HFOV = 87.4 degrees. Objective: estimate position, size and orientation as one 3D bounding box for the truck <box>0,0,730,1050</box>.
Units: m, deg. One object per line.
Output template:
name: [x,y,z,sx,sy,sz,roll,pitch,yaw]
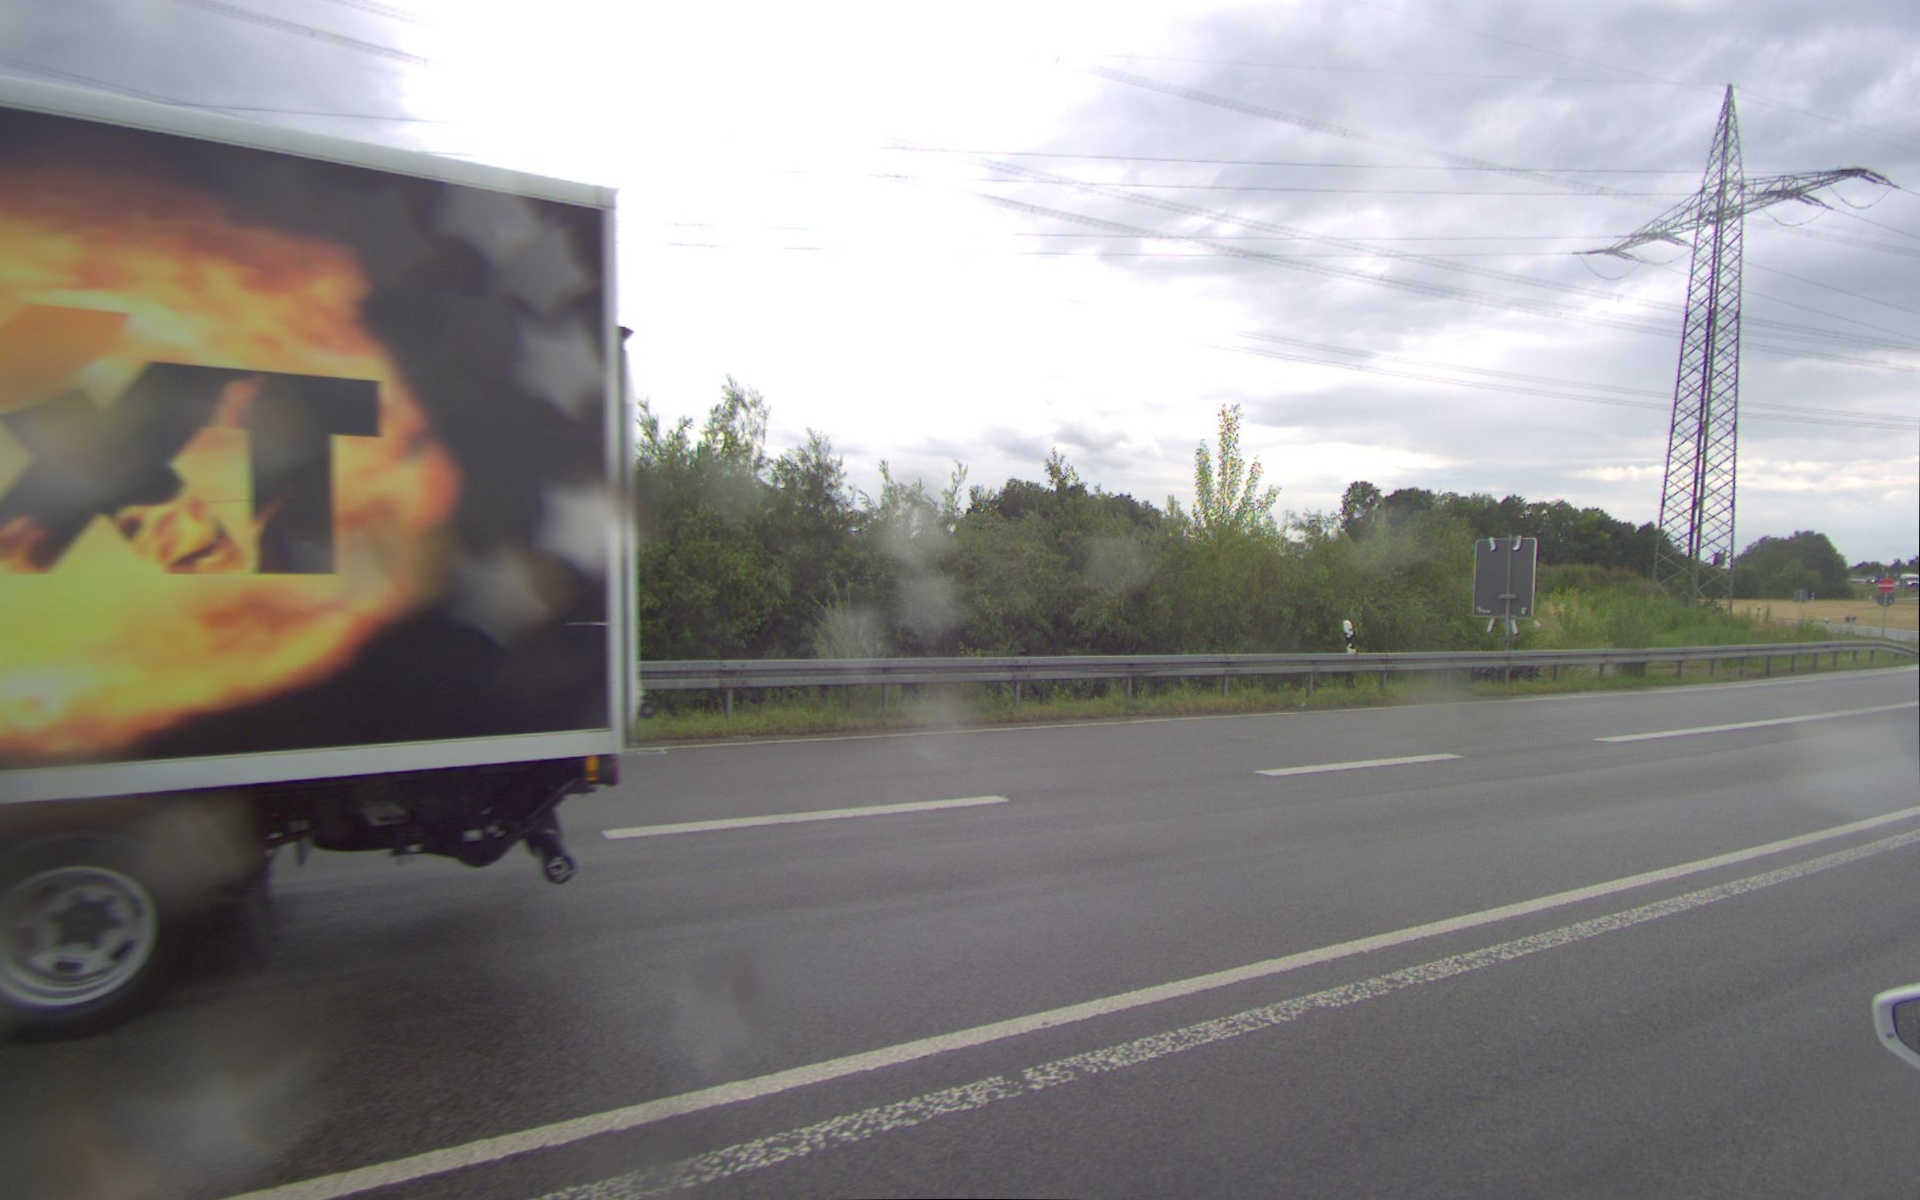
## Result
truck: [-4.377,-0.287,3.416,6.610,3.198,2.246,2,-1,-30]
